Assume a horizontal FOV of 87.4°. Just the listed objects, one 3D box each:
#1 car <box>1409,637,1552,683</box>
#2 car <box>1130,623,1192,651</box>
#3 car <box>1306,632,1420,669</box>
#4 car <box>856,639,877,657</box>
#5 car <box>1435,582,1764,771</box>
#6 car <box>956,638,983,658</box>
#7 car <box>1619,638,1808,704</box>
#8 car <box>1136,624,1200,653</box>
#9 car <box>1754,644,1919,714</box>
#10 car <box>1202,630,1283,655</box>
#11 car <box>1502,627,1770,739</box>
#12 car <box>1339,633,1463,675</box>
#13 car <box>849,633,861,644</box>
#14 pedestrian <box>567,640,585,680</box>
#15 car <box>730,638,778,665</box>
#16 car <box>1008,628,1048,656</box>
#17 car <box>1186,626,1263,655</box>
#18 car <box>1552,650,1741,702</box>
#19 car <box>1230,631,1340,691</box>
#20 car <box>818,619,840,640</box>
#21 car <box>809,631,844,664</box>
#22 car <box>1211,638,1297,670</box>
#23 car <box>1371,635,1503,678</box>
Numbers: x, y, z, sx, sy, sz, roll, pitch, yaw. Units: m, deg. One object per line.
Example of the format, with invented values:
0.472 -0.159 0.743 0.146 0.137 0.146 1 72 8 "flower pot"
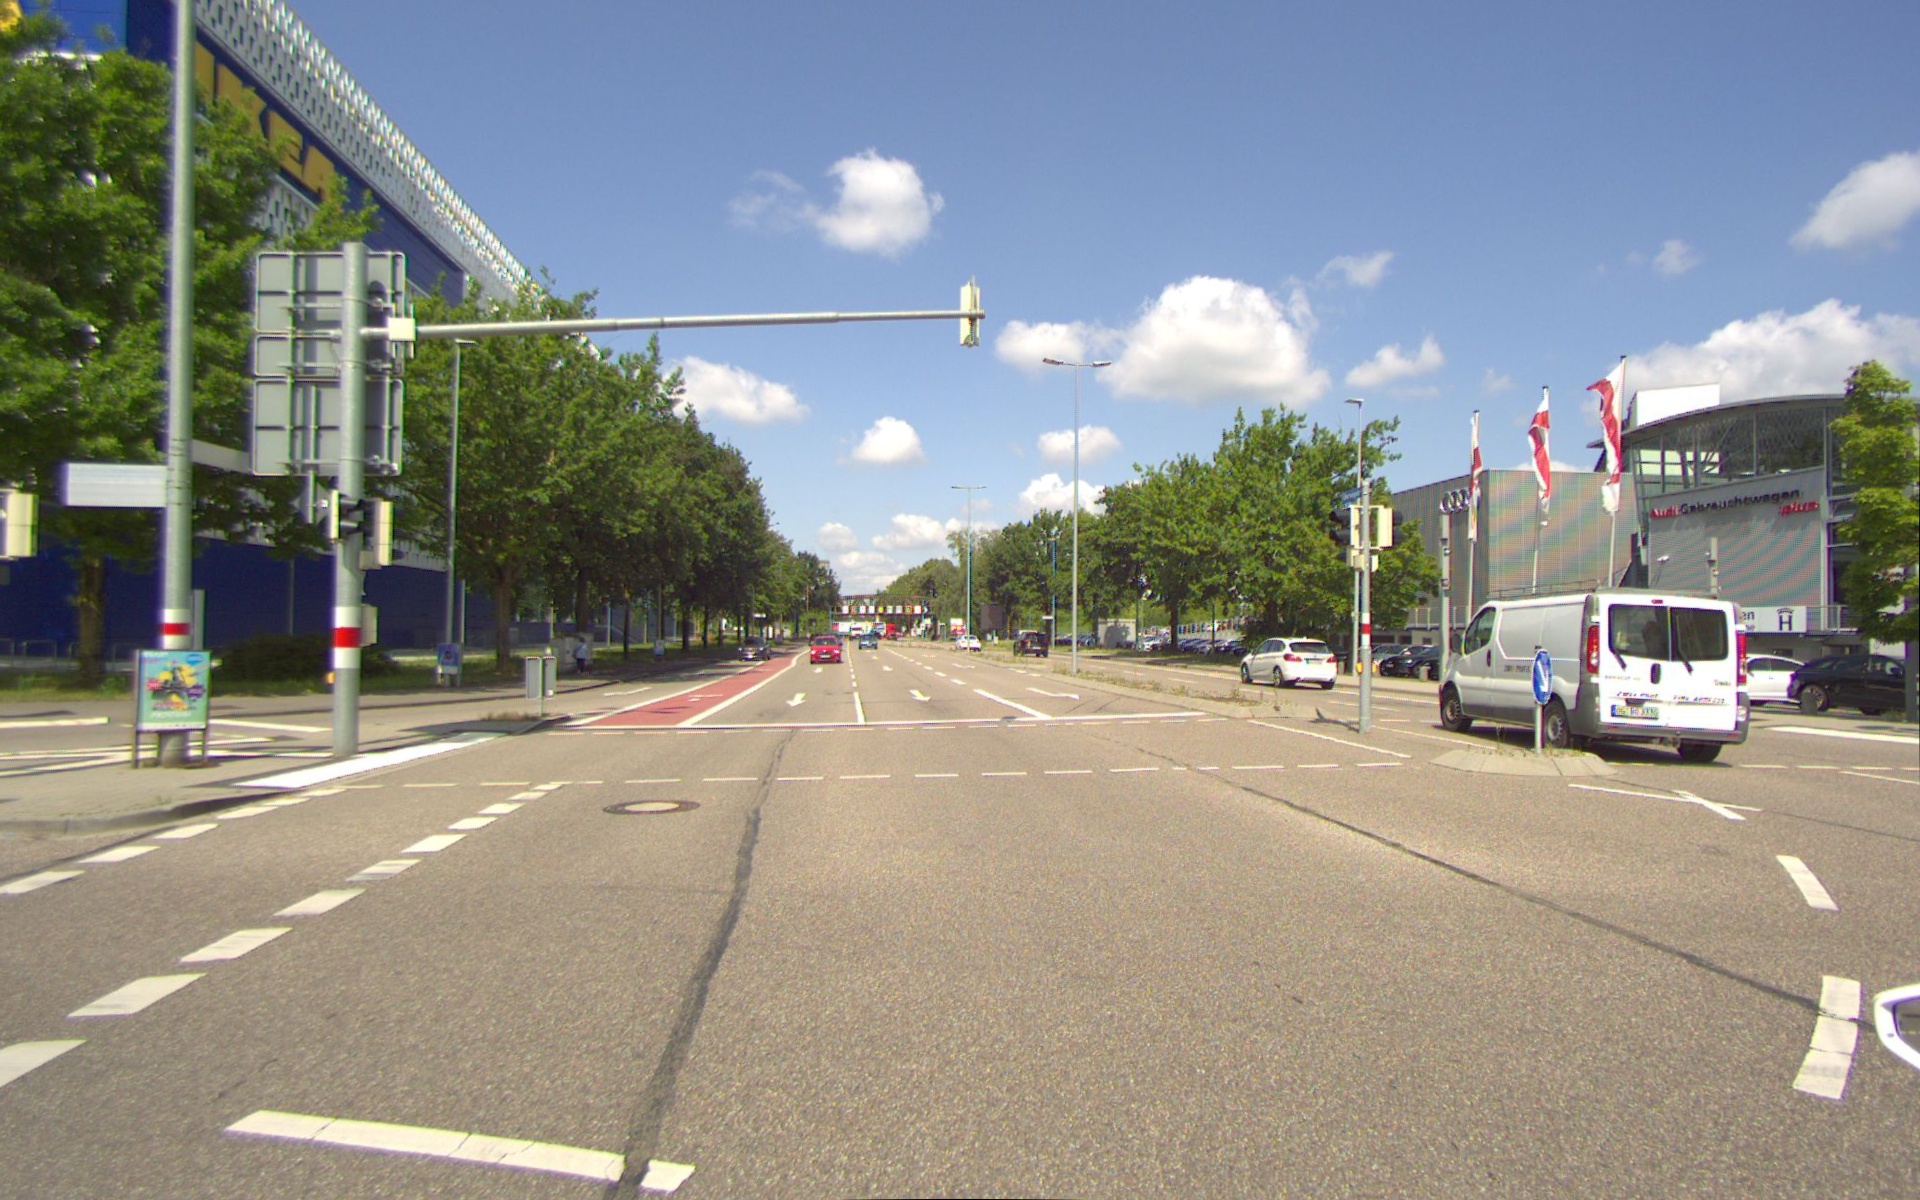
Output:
19.843 2.269 38.350 4.505 1.314 1.905 5 0 -7 "car"
16.174 2.961 81.111 4.504 2.076 1.905 1 0 -7 "car"
18.615 2.312 46.449 4.505 1.423 1.905 3 0 -7 "car"
-8.857 4.534 95.220 1.746 1.568 4.816 -2 -1 -8 "car"
8.291 0.882 13.623 1.939 2.087 4.567 1 0 6 "car"
0.775 4.041 84.572 1.825 1.461 3.997 1 0 -5 "car"
20.415 1.905 27.281 3.926 1.483 1.794 4 -2 -7 "car"
16.143 2.962 78.029 4.504 2.076 1.905 1 0 -7 "car"
21.920 1.876 23.983 1.763 1.483 4.751 4 -2 -7 "car"
17.709 2.680 62.997 4.504 1.518 1.905 1 -2 -7 "car"
11.499 1.336 17.461 1.746 1.651 3.997 1 0 -5 "car"
19.102 2.324 43.608 4.505 1.423 1.905 4 0 -7 "car"
-17.703 6.396 168.870 1.898 1.778 4.815 1 -2 -7 "car"
-15.398 2.387 40.310 0.495 1.576 0.760 0 -1 -7 "pedestrian"
-13.248 3.307 64.905 1.858 1.575 4.589 0 -1 4 "car"
4.412 2.725 65.533 1.745 1.639 4.262 1 0 -8 "car"
17.293 2.648 65.741 4.504 1.700 1.905 1 0 -7 "car"
20.457 2.251 30.027 4.504 1.315 1.905 1 0 -7 "car"
10.362 1.904 32.346 1.745 1.639 3.994 1 0 -9 "car"
-11.735 2.649 90.074 1.898 1.778 4.815 -2 -1 -8 "car"
-7.411 2.609 55.515 1.815 1.623 4.558 1 -1 -8 "car"
17.430 3.185 59.607 4.504 1.700 1.905 1 0 -7 "car"
19.346 2.277 40.830 4.505 1.402 1.905 3 0 -7 "car"
